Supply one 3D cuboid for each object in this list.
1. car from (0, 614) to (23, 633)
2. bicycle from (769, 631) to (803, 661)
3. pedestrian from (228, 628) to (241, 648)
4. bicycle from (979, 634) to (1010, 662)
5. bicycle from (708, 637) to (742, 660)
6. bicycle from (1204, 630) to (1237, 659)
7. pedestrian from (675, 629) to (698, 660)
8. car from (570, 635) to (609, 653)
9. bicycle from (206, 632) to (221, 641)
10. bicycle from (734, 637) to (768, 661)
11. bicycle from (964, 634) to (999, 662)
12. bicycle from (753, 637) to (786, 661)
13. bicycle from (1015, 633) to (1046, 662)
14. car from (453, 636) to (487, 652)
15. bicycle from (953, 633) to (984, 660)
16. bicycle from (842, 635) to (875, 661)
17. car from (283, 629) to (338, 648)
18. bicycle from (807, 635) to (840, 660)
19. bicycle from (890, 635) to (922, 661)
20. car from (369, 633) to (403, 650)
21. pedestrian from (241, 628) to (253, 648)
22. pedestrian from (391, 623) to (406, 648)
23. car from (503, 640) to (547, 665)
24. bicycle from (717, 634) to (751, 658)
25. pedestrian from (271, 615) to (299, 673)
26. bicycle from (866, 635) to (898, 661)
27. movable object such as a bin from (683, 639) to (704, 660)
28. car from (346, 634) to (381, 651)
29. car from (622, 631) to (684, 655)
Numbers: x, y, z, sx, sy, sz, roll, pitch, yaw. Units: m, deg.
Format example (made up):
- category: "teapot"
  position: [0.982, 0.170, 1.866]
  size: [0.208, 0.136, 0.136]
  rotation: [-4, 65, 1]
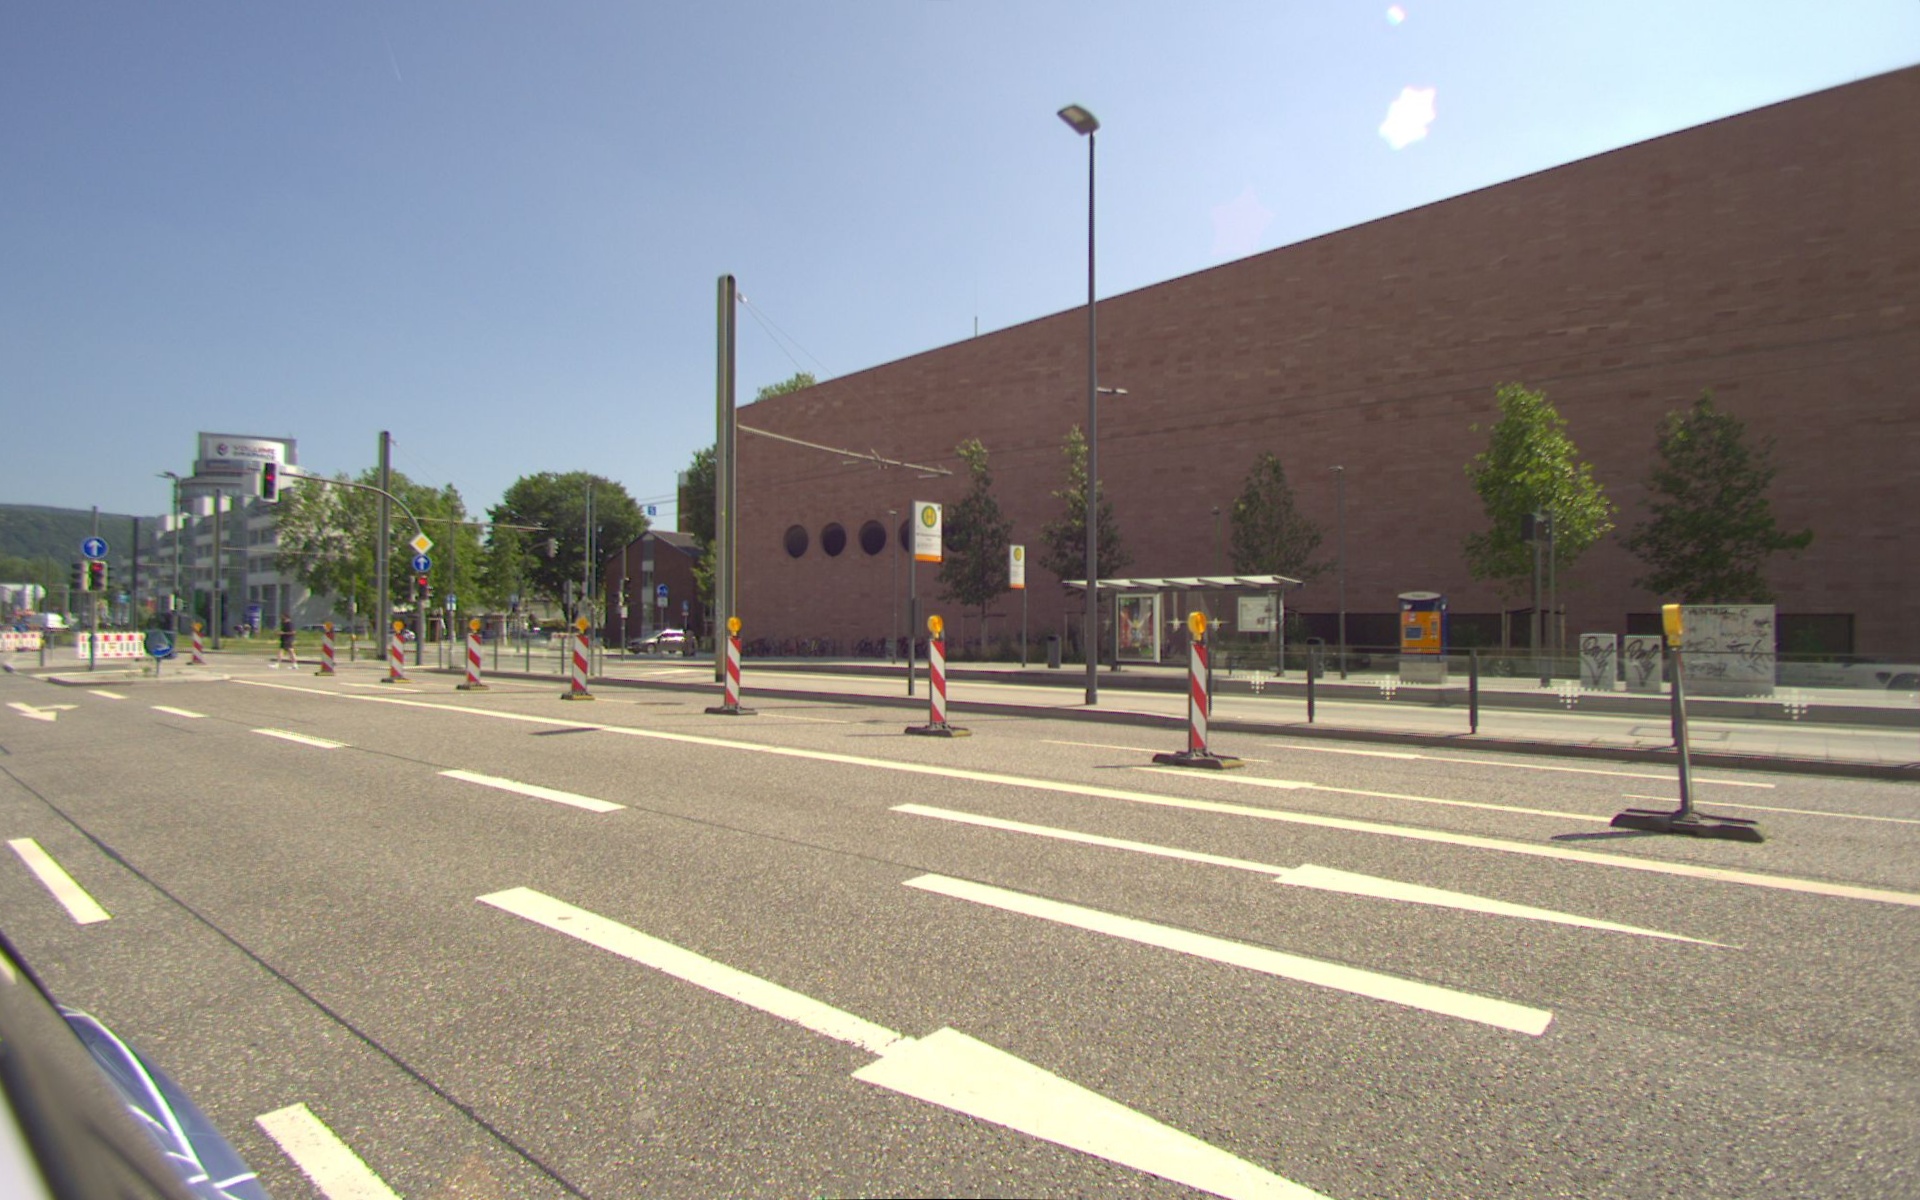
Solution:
- category: "car"
  position: [-137.689, 3.423, 146.829]
  size: [5.985, 2.761, 2.055]
  rotation: [-1, -4, 43]
- category: "bicycle"
  position: [-9.016, 2.381, 52.541]
  size: [0.537, 1.464, 2.036]
  rotation: [-2, -2, 30]
- category: "pedestrian"
  position: [-74.937, 3.898, 104.497]
  size: [0.910, 2.029, 0.972]
  rotation: [-2, -1, 44]
- category: "bicycle"
  position: [1.594, 2.190, 46.238]
  size: [0.537, 1.221, 2.036]
  rotation: [-2, -2, 30]
- category: "bicycle"
  position: [-12.800, 2.611, 55.120]
  size: [0.537, 1.221, 2.036]
  rotation: [-1, -2, 30]
- category: "bicycle"
  position: [10.599, 1.798, 41.080]
  size: [0.594, 1.161, 2.223]
  rotation: [-2, -2, 34]
- category: "pedestrian"
  position: [-13.874, 2.258, 51.312]
  size: [0.785, 1.574, 0.929]
  rotation: [-1, -2, 10]
- category: "car"
  position: [-31.335, 3.707, 85.553]
  size: [3.786, 1.468, 1.522]
  rotation: [-2, -2, 42]
- category: "bicycle"
  position: [-106.377, 5.231, 144.155]
  size: [0.438, 1.198, 1.629]
  rotation: [-2, -1, 41]
- category: "bicycle"
  position: [-11.167, 2.601, 54.091]
  size: [0.537, 1.221, 2.036]
  rotation: [-2, -2, 30]
- category: "bicycle"
  position: [0.997, 2.198, 46.807]
  size: [0.745, 1.221, 1.868]
  rotation: [-1, -2, 34]
- category: "bicycle"
  position: [-10.004, 2.584, 53.328]
  size: [0.537, 1.221, 2.037]
  rotation: [-2, -2, 29]
- category: "bicycle"
  position: [3.153, 2.116, 45.135]
  size: [0.537, 1.221, 2.036]
  rotation: [-2, -2, 30]
- category: "car"
  position: [-52.205, 4.631, 107.803]
  size: [3.631, 1.603, 1.752]
  rotation: [-1, 0, 37]
- category: "bicycle"
  position: [0.411, 2.169, 47.345]
  size: [0.537, 1.221, 2.036]
  rotation: [-2, -2, 30]
- category: "bicycle"
  position: [-5.013, 2.375, 50.286]
  size: [0.537, 1.221, 2.036]
  rotation: [-1, -1, 30]
- category: "car"
  position: [-75.267, 4.451, 117.371]
  size: [4.988, 2.196, 2.121]
  rotation: [0, -1, -22]
- category: "bicycle"
  position: [-6.976, 2.425, 51.652]
  size: [0.537, 1.221, 2.036]
  rotation: [-2, -2, 30]
- category: "bicycle"
  position: [-2.601, 2.318, 48.941]
  size: [0.537, 1.221, 2.036]
  rotation: [-2, -2, 30]
- category: "car"
  position: [-59.023, 4.263, 104.043]
  size: [3.631, 1.603, 1.752]
  rotation: [-1, 0, 37]
- category: "pedestrian"
  position: [-74.190, 3.980, 105.349]
  size: [0.984, 2.029, 0.830]
  rotation: [-2, -1, 44]
- category: "pedestrian"
  position: [-43.057, 2.736, 77.606]
  size: [0.802, 1.861, 1.108]
  rotation: [1, -2, -43]
- category: "car"
  position: [-34.693, 4.163, 80.665]
  size: [3.939, 1.774, 1.680]
  rotation: [0, -1, 42]
- category: "bicycle"
  position: [-12.205, 2.472, 54.690]
  size: [0.537, 1.221, 2.036]
  rotation: [-3, -1, 30]
- category: "pedestrian"
  position: [-21.810, 1.425, 32.702]
  size: [0.645, 1.847, 0.661]
  rotation: [0, -2, -44]
- category: "bicycle"
  position: [-3.803, 2.323, 49.502]
  size: [0.537, 1.221, 2.036]
  rotation: [-2, -2, 30]
- category: "movable object such as a bin"
  position: [-13.729, 2.533, 52.118]
  size: [0.785, 1.039, 0.713]
  rotation: [-1, -1, 11]
- category: "car"
  position: [-60.058, 4.239, 101.813]
  size: [3.631, 1.603, 1.752]
  rotation: [-1, 0, 37]
- category: "car"
  position: [-19.248, 2.701, 63.475]
  size: [1.572, 1.380, 3.443]
  rotation: [-2, -2, 40]
